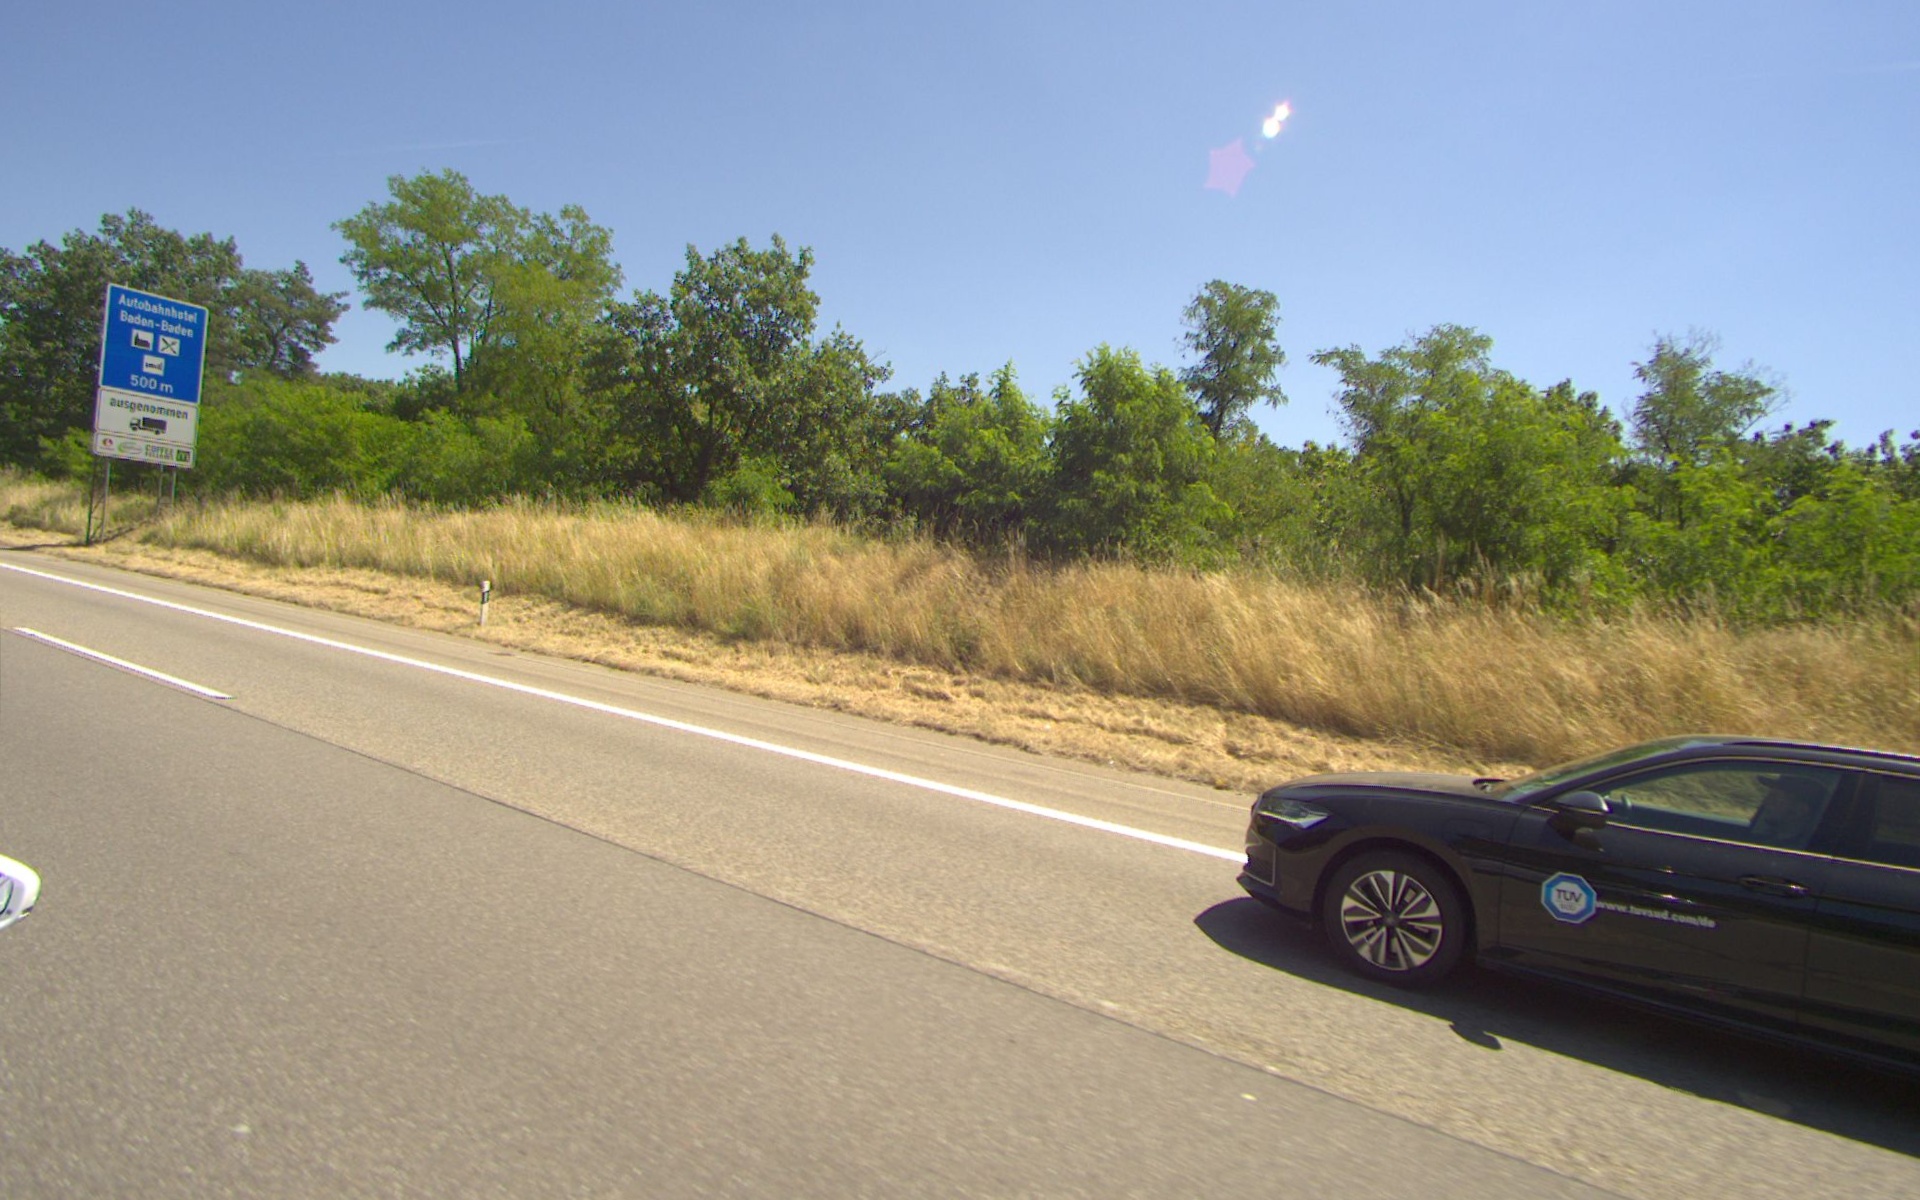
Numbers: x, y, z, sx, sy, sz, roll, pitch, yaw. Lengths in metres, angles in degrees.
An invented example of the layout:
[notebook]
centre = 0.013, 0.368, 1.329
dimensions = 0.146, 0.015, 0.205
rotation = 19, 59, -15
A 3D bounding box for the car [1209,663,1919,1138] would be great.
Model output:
[car]
centre = 3.853, 1.366, 4.844
dimensions = 4.710, 1.473, 1.824
rotation = 6, -2, 32
